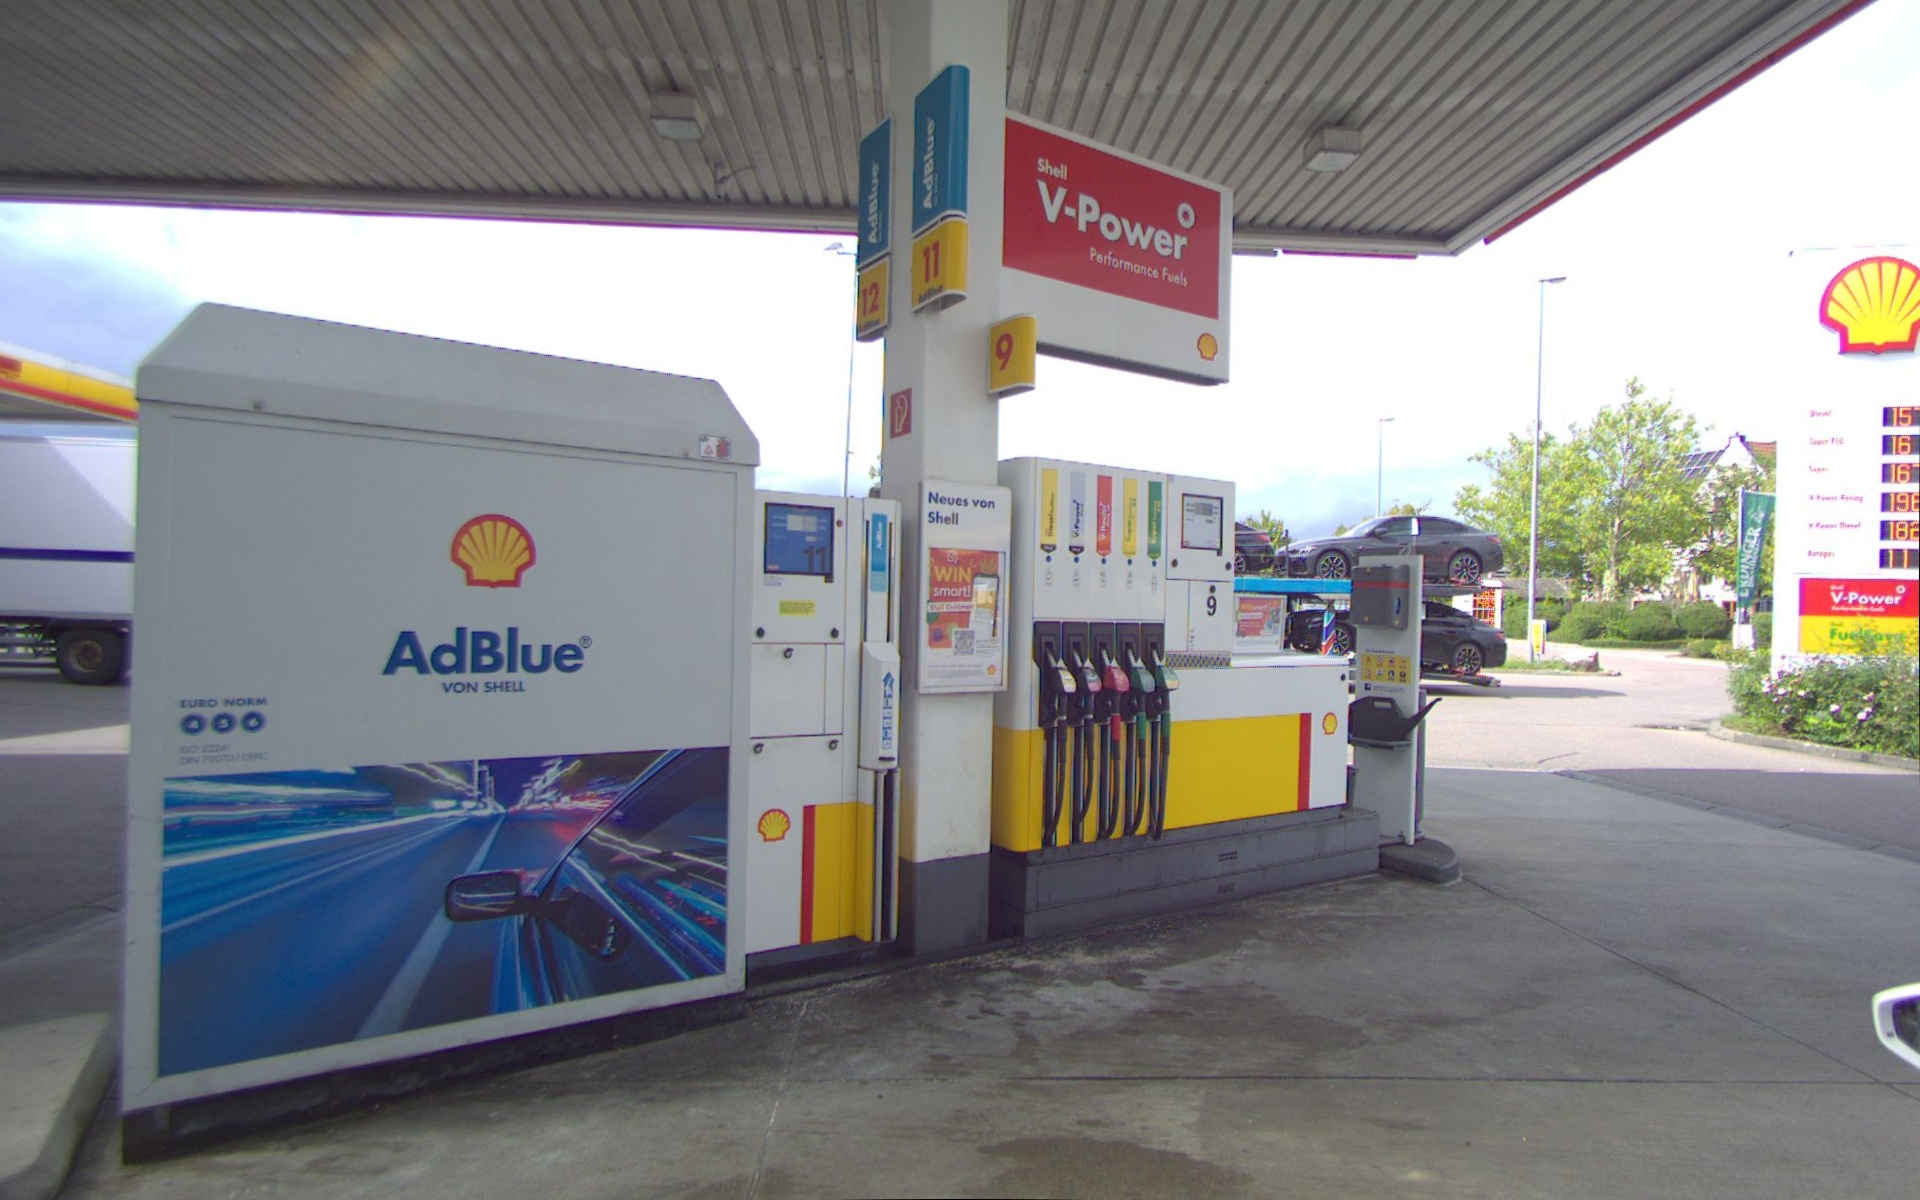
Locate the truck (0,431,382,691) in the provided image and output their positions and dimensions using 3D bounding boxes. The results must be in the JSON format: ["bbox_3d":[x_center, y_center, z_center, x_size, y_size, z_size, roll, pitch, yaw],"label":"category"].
[{"bbox_3d":[-17.290,-0.740,17.505,12.654,4.092,2.534,2,0,-3],"label":"truck"}]

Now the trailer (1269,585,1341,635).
[{"bbox_3d":[29.126,0.817,85.486,2.684,3.826,12.718,2,0,5],"label":"trailer"}]

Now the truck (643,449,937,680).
[{"bbox_3d":[-3.439,-0.705,21.549,5.713,4.479,2.750,2,0,0],"label":"truck"}]

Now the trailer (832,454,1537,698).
[{"bbox_3d":[4.537,-0.468,21.587,14.077,4.481,2.746,2,0,0],"label":"trailer"}]
